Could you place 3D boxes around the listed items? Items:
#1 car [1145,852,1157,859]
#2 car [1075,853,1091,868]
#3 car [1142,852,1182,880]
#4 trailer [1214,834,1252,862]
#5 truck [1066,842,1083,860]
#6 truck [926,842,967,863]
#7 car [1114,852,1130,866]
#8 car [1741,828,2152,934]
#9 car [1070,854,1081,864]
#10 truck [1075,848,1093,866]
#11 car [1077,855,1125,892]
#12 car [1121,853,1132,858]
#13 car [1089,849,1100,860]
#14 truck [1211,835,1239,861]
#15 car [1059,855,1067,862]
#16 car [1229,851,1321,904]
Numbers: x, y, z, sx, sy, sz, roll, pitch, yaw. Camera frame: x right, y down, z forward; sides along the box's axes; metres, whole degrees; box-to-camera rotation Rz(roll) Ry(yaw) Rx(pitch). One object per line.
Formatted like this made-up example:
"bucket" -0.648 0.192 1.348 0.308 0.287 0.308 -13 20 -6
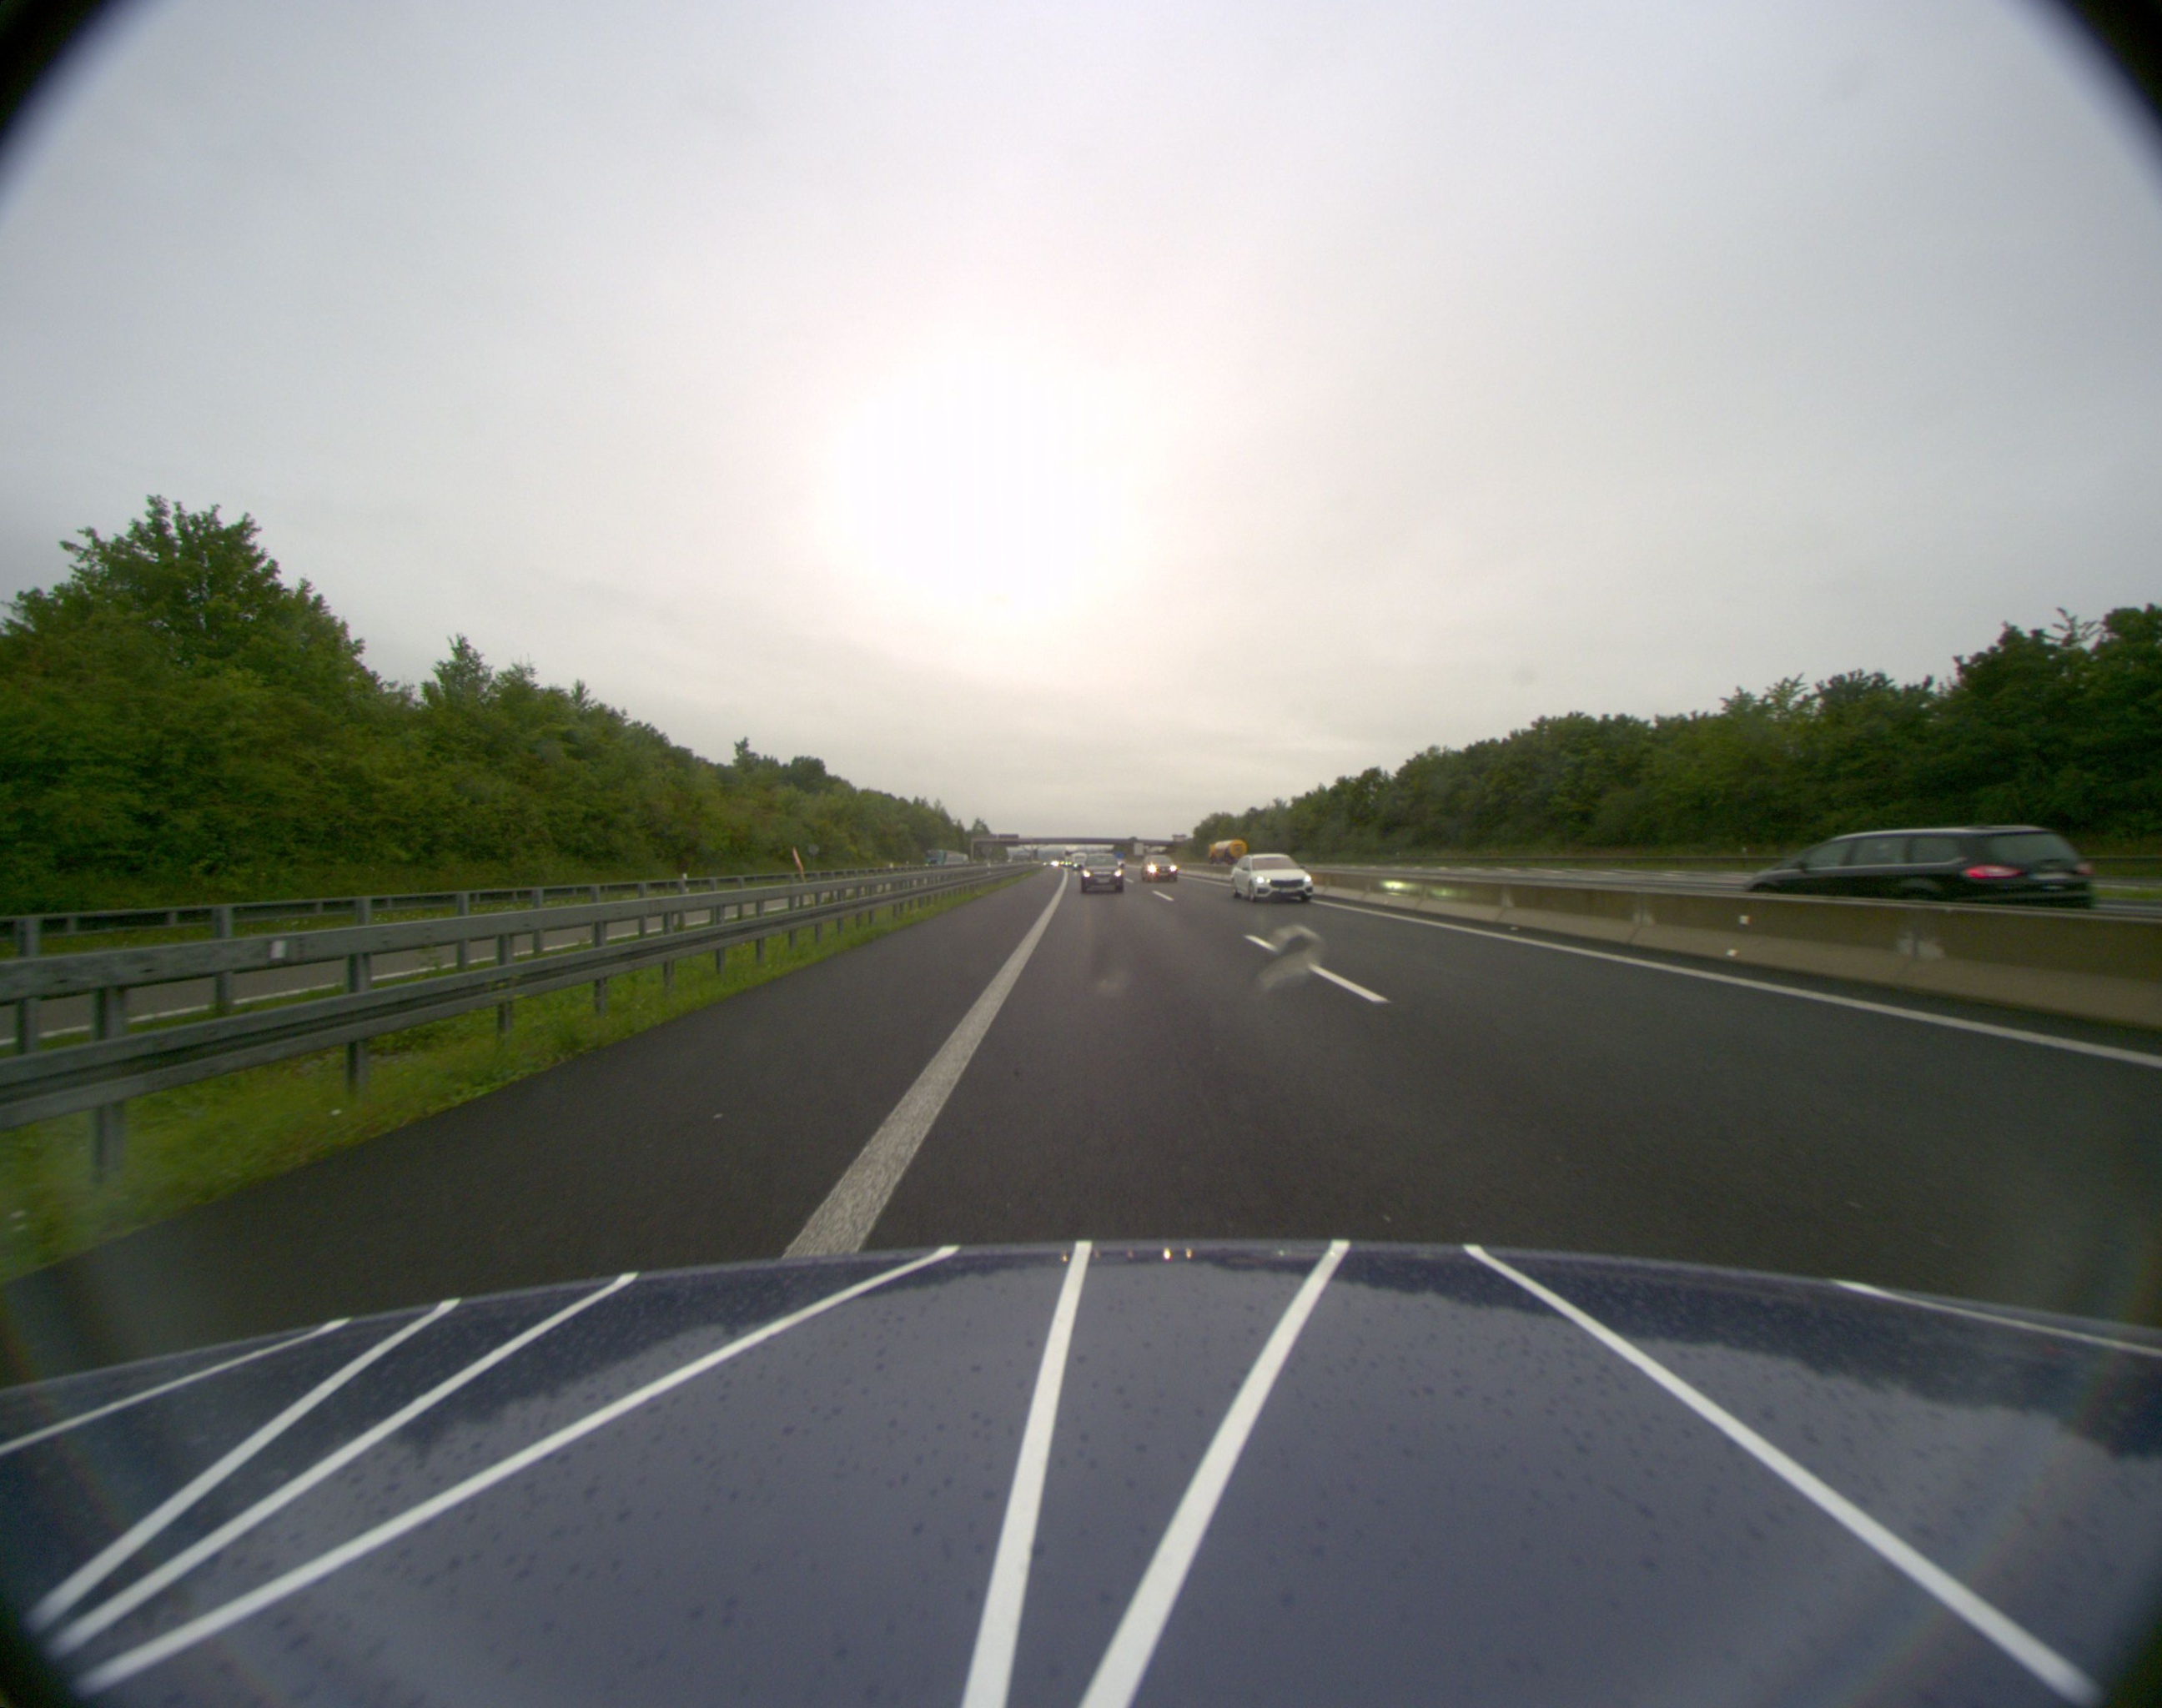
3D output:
"car" 18.841 0.431 205.783 2.187 1.686 4.564 -1 0 -9
"car" 0.277 0.763 90.720 1.825 1.669 4.000 -1 0 1
"car" 4.612 0.670 43.816 1.905 1.497 4.114 -1 0 1
"trailer" 20.110 -0.783 101.238 2.768 3.378 11.447 -2 0 1
"truck" -1.274 -0.523 148.688 3.154 3.332 13.098 -1 0 -1
"truck" -23.013 -0.229 131.357 2.907 3.397 13.361 -1 0 8
"car" 5.168 0.668 97.030 1.716 1.724 3.999 -1 0 -1
"car" 14.655 0.398 13.413 1.987 1.497 4.637 -1 0 1
"car" -0.935 0.803 130.676 1.716 1.724 3.999 -1 0 -1
"truck" 0.324 0.409 97.612 2.175 2.214 5.642 -1 0 0
"car" 0.842 0.798 33.085 1.905 1.497 4.114 -1 0 1
"car" 14.492 0.476 242.407 2.187 1.686 4.624 -2 0 -10
"car" 2.614 0.053 149.544 1.998 2.002 4.037 -1 0 1
"truck" 20.166 -0.822 106.716 2.768 3.378 5.845 -2 1 1
"car" -4.652 1.146 199.035 1.917 1.671 4.000 -1 0 0
"car" 6.034 0.688 24.148 1.905 1.497 4.114 -1 0 1
